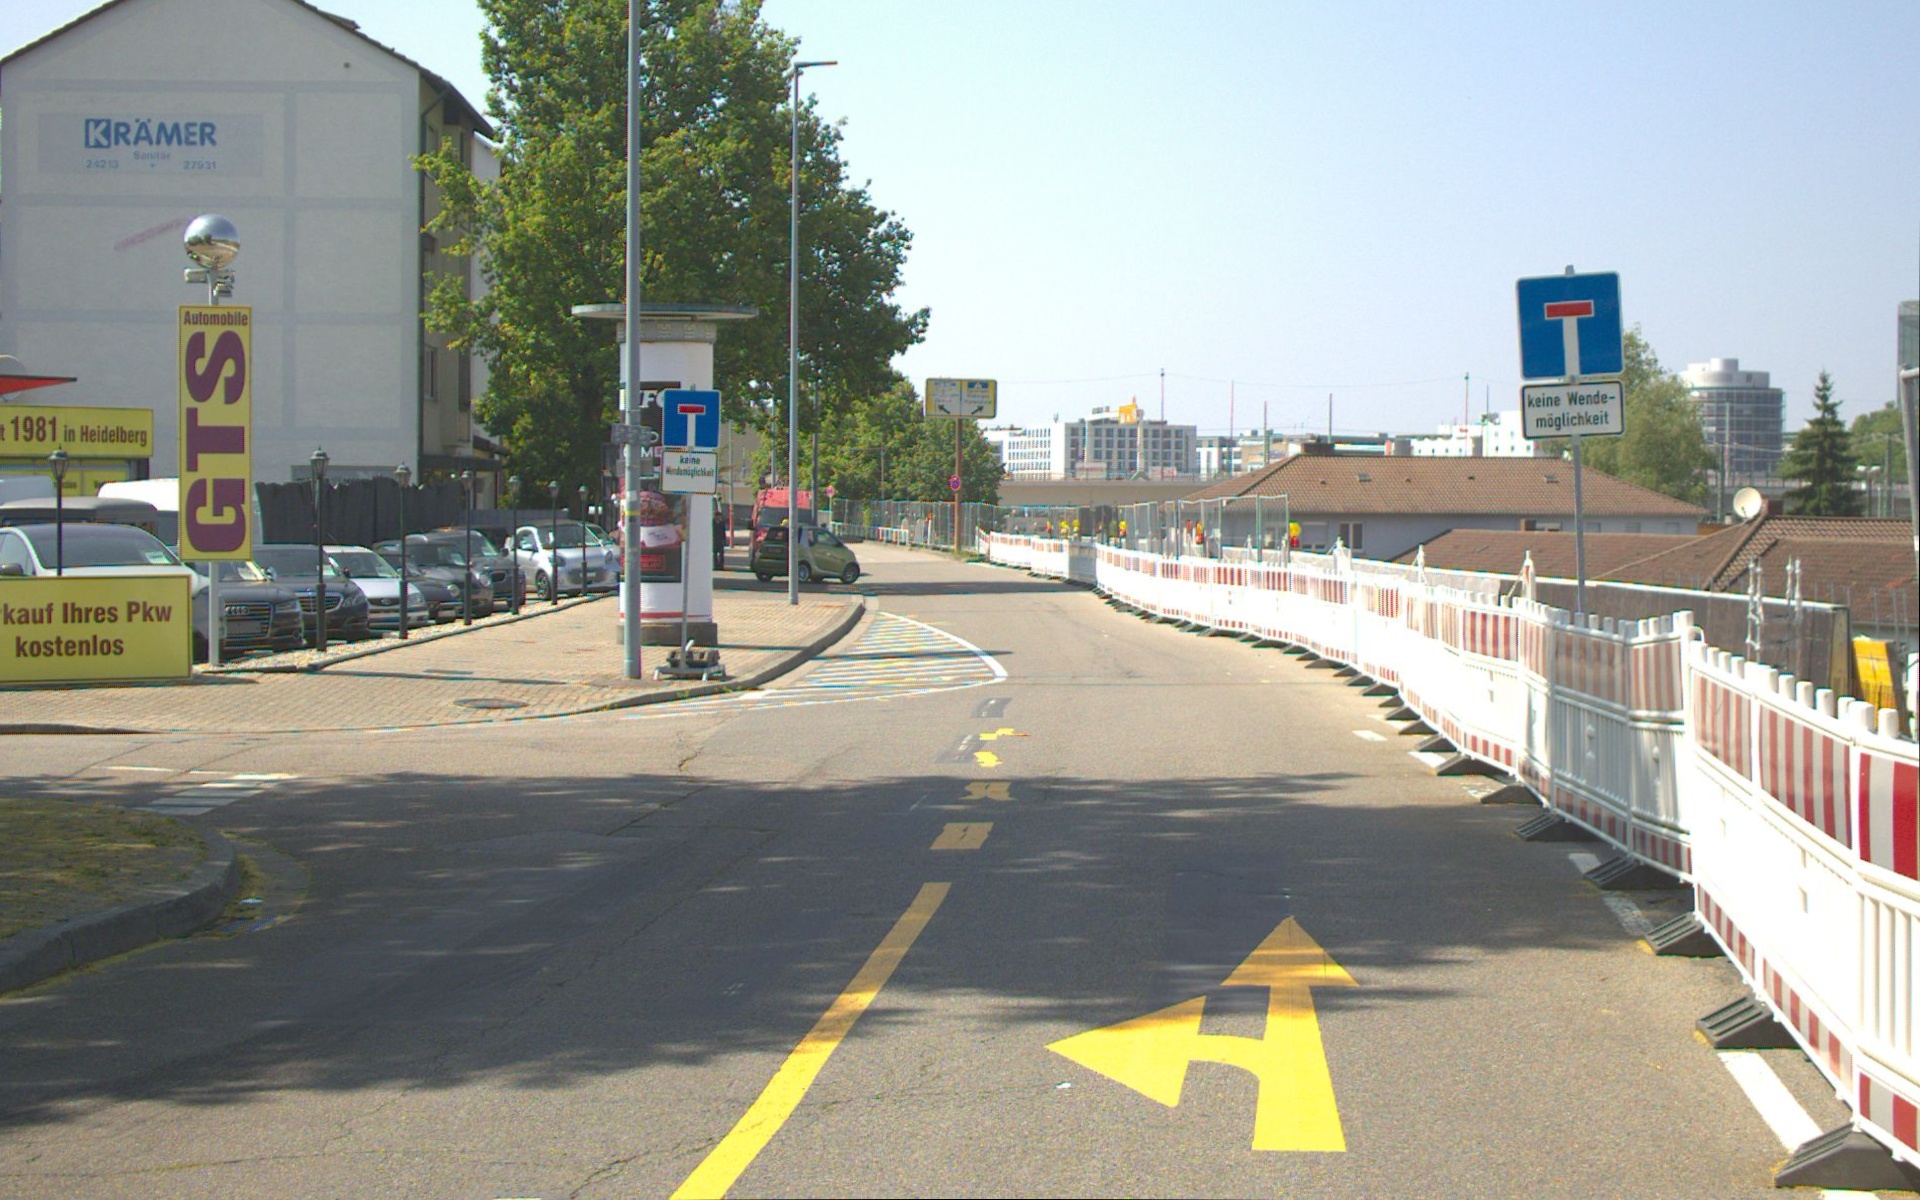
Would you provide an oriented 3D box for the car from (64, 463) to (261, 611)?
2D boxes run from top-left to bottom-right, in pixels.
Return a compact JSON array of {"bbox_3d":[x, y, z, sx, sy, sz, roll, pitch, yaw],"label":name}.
[{"bbox_3d":[-12.886,-1.024,55.817,2.135,2.276,4.711,1,1,-1],"label":"car"}]

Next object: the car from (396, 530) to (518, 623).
[{"bbox_3d":[-9.293,-0.454,63.276,1.856,1.623,4.001,0,1,-14],"label":"car"}]

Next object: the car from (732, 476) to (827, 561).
[{"bbox_3d":[-5.540,-2.481,106.068,2.538,2.511,5.118,1,0,1],"label":"car"}]

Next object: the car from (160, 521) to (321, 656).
[{"bbox_3d":[-9.108,-0.178,43.335,1.856,1.623,4.001,0,1,-14],"label":"car"}]

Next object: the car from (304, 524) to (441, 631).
[{"bbox_3d":[-9.355,-0.382,54.537,1.856,1.623,4.001,0,1,-14],"label":"car"}]

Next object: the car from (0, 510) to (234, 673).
[{"bbox_3d":[-9.819,-0.110,38.431,1.993,1.719,4.000,1,1,-33],"label":"car"}]

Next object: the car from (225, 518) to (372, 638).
[{"bbox_3d":[-9.454,-0.337,48.935,1.856,1.623,4.001,0,1,-14],"label":"car"}]

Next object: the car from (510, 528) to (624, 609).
[{"bbox_3d":[-8.163,-0.675,71.222,1.856,1.623,4.001,0,1,-14],"label":"car"}]

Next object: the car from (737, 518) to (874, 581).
[{"bbox_3d":[-4.141,-1.355,92.088,3.271,1.632,1.726,1,1,-40],"label":"car"}]

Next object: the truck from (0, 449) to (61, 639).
[{"bbox_3d":[-15.824,-0.881,52.430,2.269,2.894,5.942,2,1,4],"label":"truck"}]

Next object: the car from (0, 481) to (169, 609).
[{"bbox_3d":[-13.022,-0.809,49.777,1.877,1.732,4.722,2,1,2],"label":"car"}]
